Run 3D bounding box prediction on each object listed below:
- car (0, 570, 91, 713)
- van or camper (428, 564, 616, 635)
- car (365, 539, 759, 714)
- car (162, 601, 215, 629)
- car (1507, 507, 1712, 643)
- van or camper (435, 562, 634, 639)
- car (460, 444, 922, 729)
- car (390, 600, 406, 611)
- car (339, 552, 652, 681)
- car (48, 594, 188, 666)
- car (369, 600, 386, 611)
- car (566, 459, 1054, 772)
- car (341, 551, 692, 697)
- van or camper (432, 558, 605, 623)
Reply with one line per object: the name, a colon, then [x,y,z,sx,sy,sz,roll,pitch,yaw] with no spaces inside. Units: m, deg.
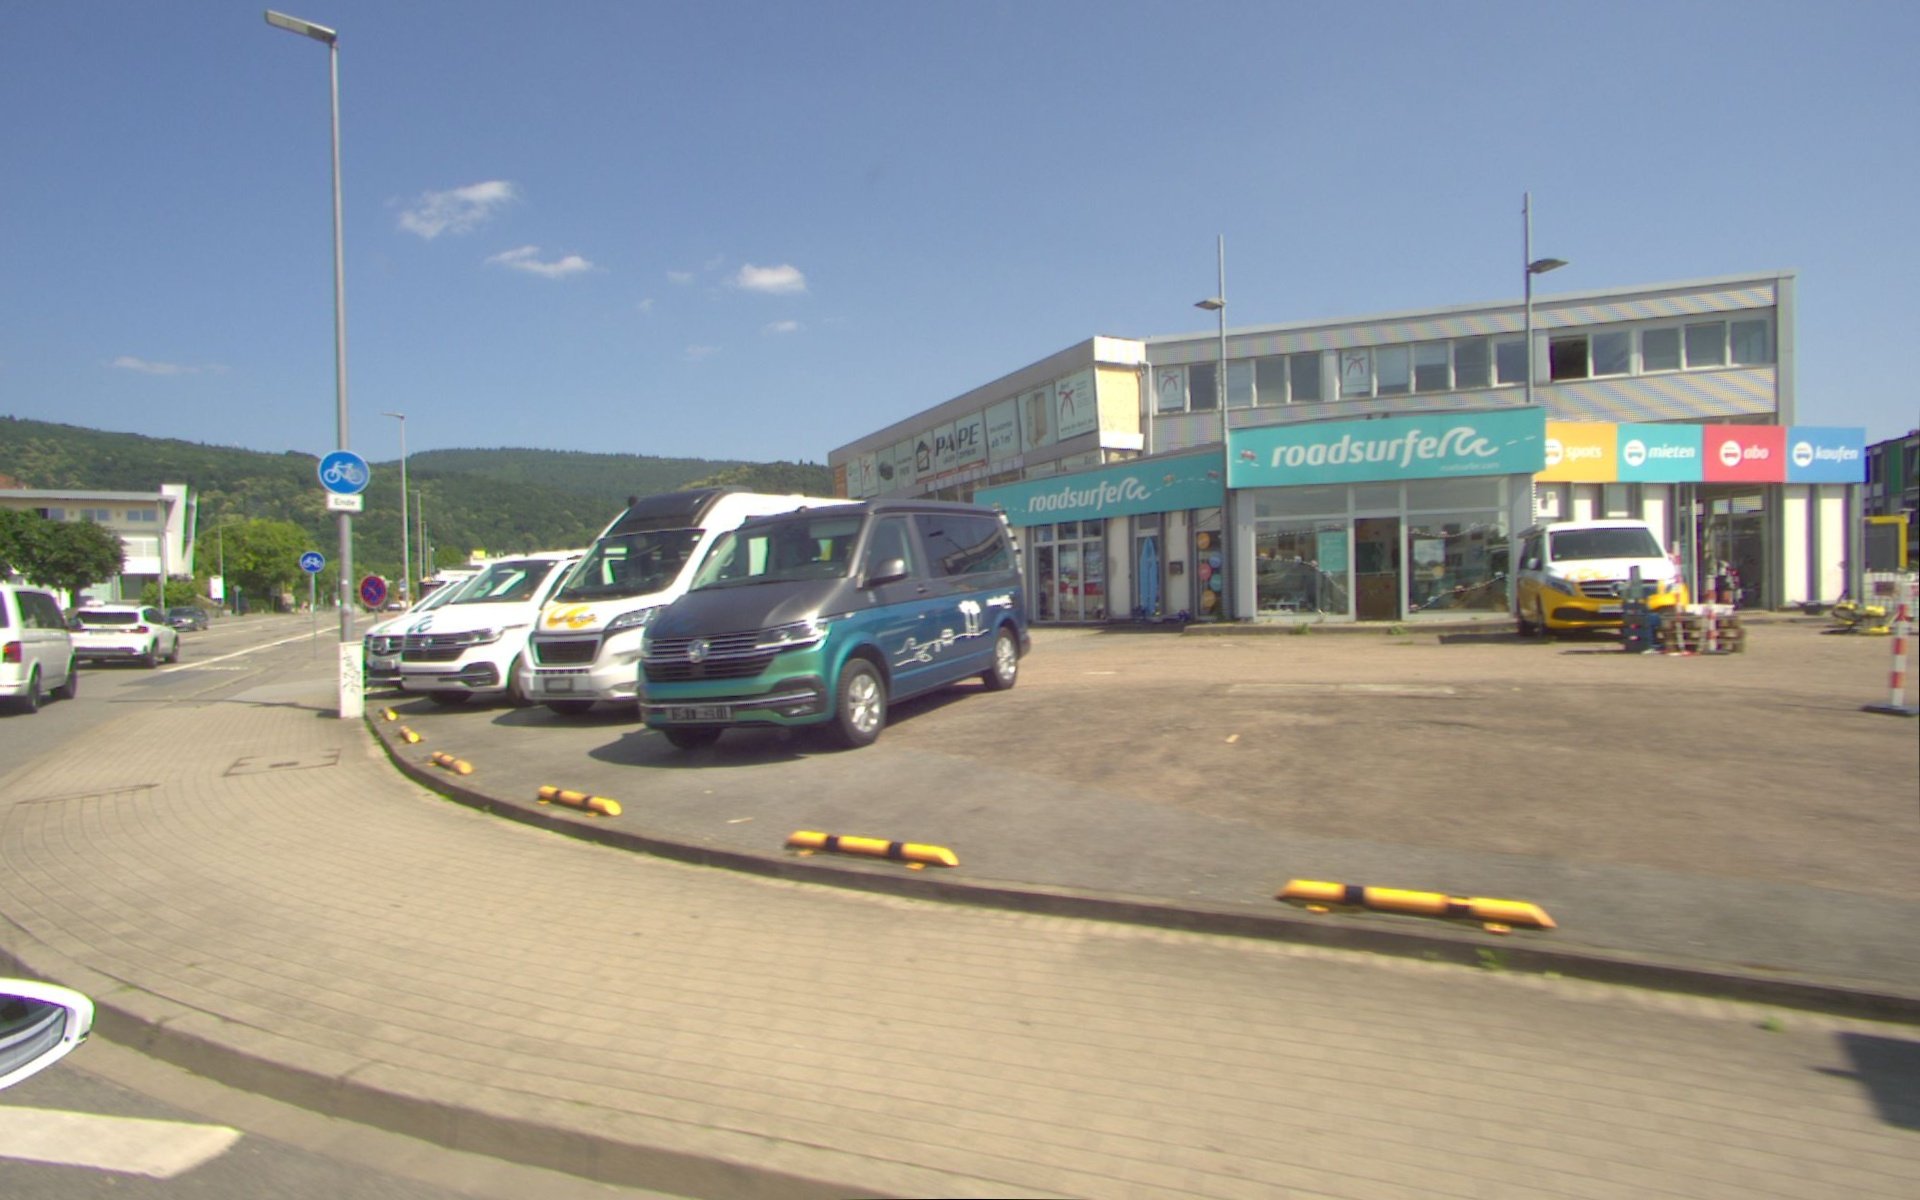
car: [-15.648,0.611,15.909,2.141,2.040,4.986,0,-1,-34]
van or camper: [-17.253,-0.030,39.617,6.524,2.595,3.736,-1,0,-26]
car: [-5.346,0.287,14.351,1.994,2.027,5.136,-1,0,29]
car: [-44.638,0.843,58.014,1.820,1.484,3.980,-1,1,-29]
car: [10.612,-0.364,16.787,2.063,1.902,5.085,-1,0,24]
van or camper: [-15.511,-0.009,36.668,6.424,2.595,2.962,-1,0,-26]
car: [-2.957,-0.158,12.942,2.270,2.753,6.133,0,1,26]
car: [-87.899,0.887,156.698,1.970,1.706,3.981,-1,1,-28]
car: [-8.647,0.293,19.171,2.021,2.122,5.130,-2,-1,32]
car: [-22.087,0.742,26.453,1.971,1.730,3.980,2,-1,-28]
car: [-73.366,0.719,126.119,1.698,1.321,3.981,-1,1,-28]
car: [-0.965,0.035,9.652,2.063,2.142,5.207,-2,2,24]
car: [-7.107,0.284,16.698,1.903,2.041,5.120,0,1,32]
van or camper: [-18.856,-0.383,42.963,6.524,2.595,3.386,-1,0,-26]
